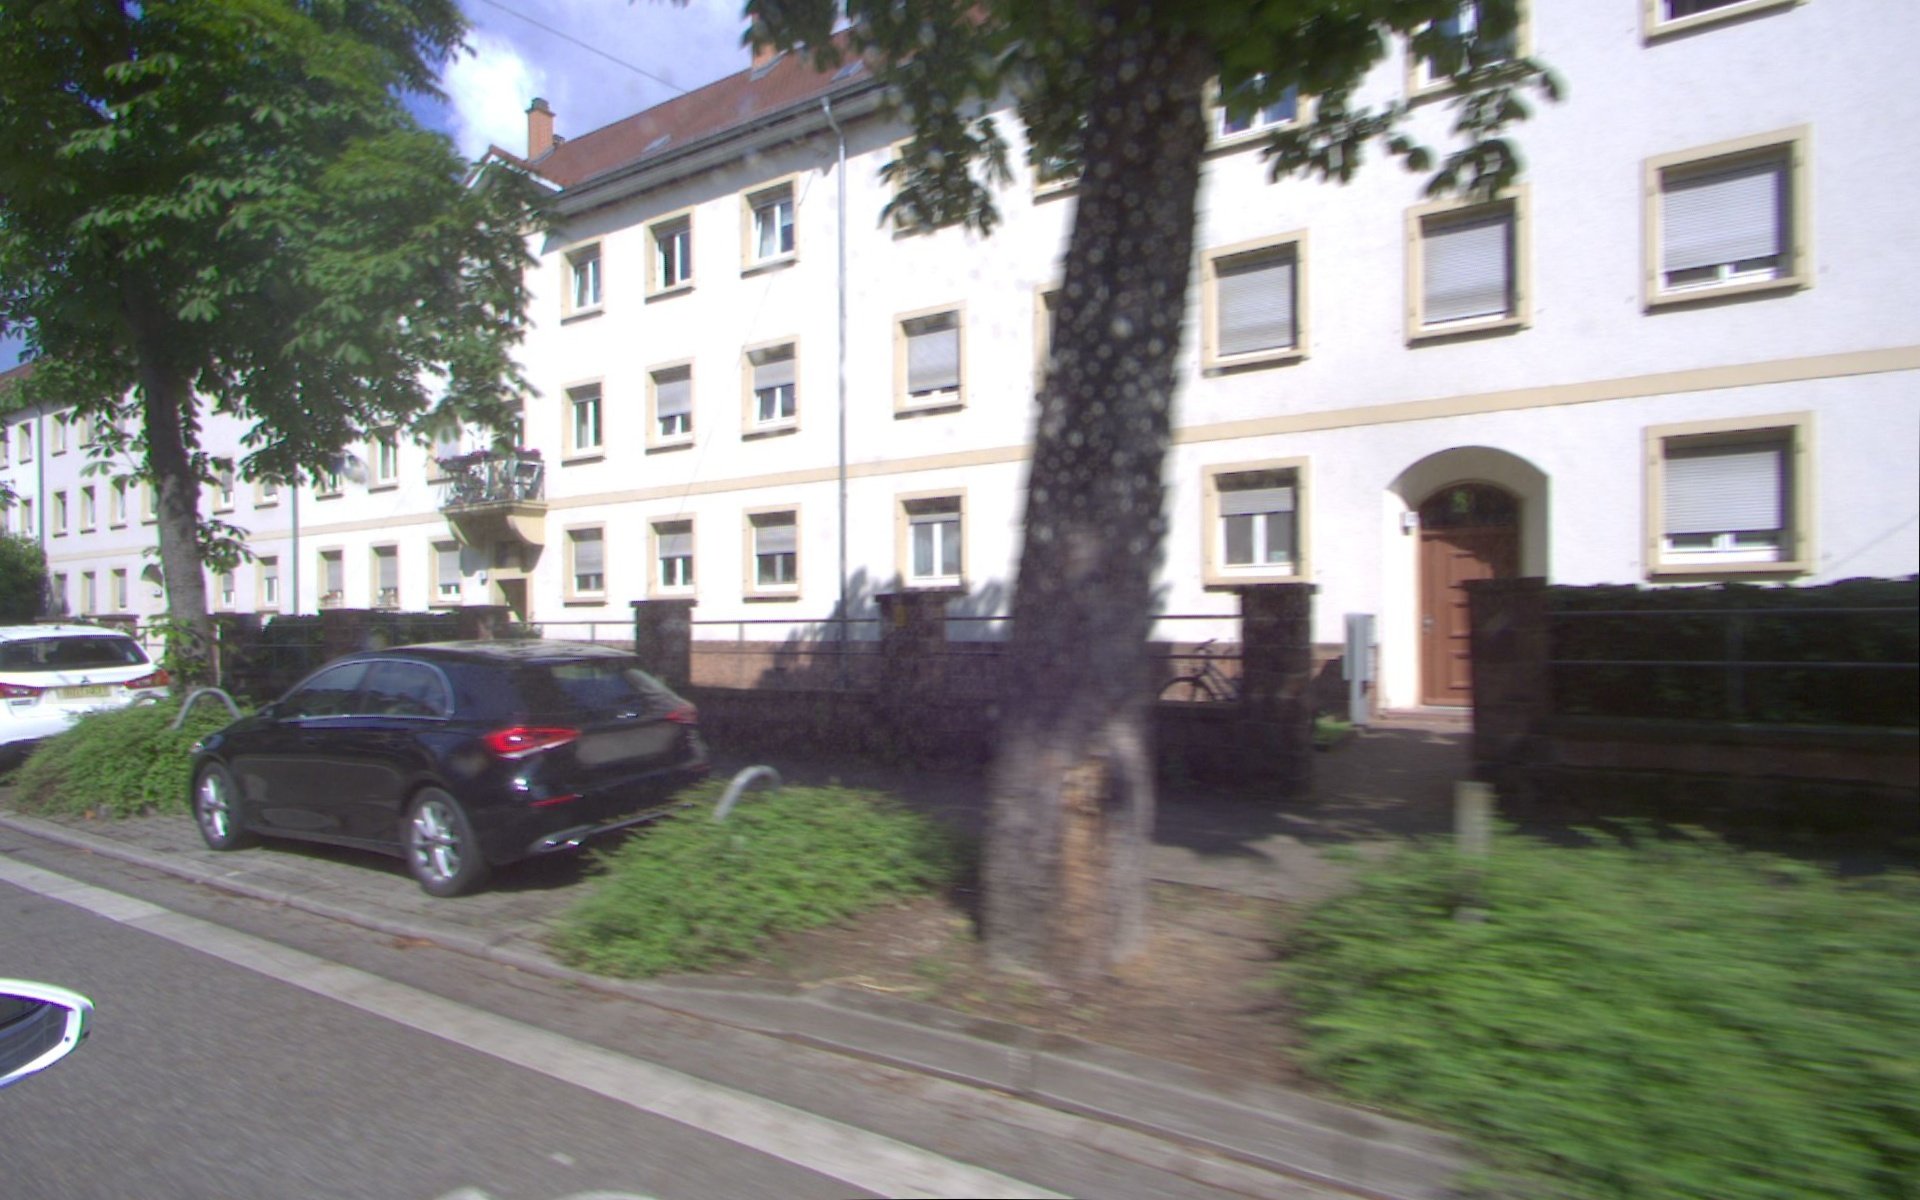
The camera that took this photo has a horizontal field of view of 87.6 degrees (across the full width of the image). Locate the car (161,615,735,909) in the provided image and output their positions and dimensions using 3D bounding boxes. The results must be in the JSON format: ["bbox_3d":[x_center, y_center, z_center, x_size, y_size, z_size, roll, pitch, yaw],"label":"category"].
[{"bbox_3d":[-3.722,0.897,7.063,4.225,1.540,1.658,-1,-1,31],"label":"car"}]

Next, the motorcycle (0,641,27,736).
[{"bbox_3d":[-14.430,1.269,13.925,0.736,1.354,2.005,-1,-1,28],"label":"motorcycle"}]

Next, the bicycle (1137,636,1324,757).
[{"bbox_3d":[2.799,0.959,10.427,1.775,1.150,0.623,-1,-1,32],"label":"bicycle"}]

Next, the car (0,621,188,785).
[{"bbox_3d":[-10.793,1.049,11.454,4.187,1.601,1.739,-1,-1,31],"label":"car"}]
